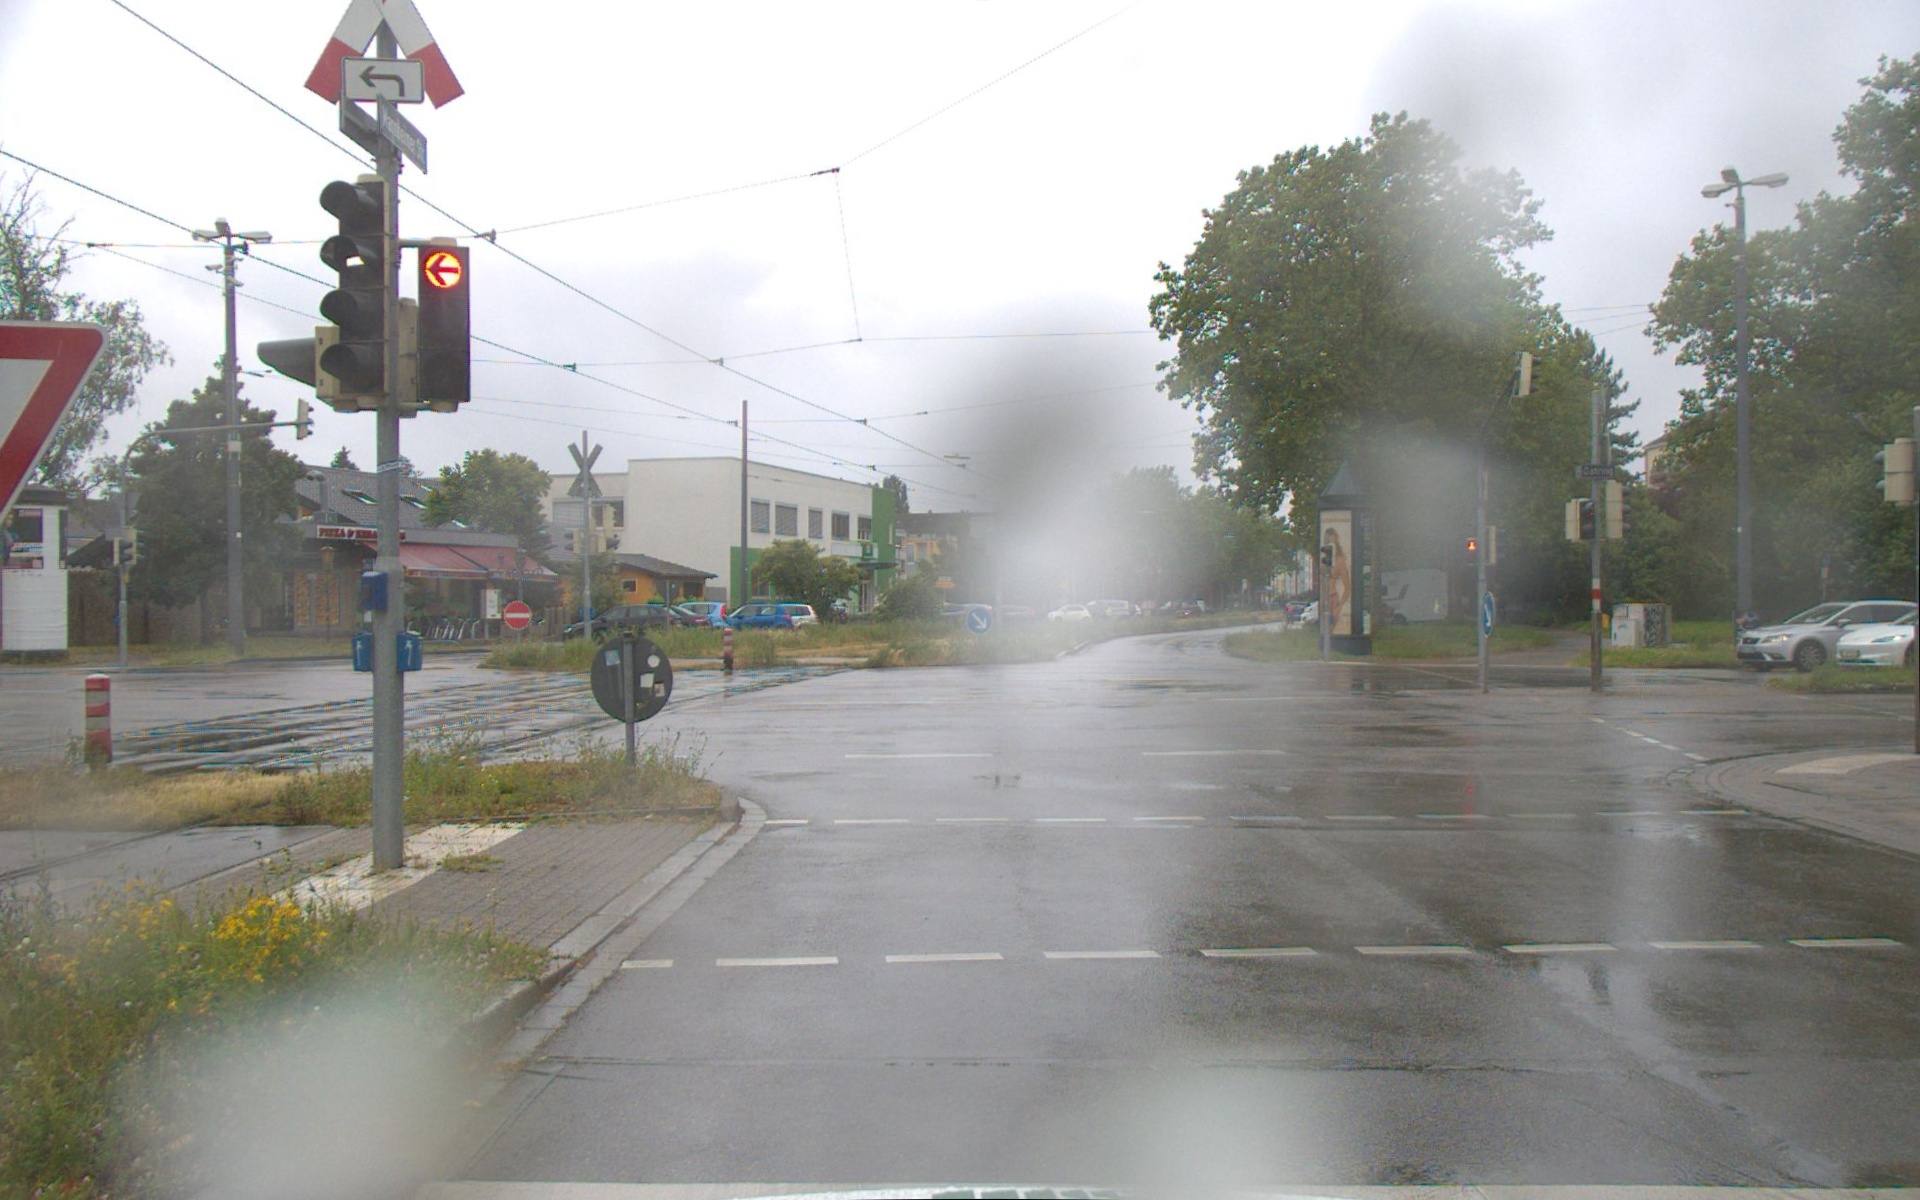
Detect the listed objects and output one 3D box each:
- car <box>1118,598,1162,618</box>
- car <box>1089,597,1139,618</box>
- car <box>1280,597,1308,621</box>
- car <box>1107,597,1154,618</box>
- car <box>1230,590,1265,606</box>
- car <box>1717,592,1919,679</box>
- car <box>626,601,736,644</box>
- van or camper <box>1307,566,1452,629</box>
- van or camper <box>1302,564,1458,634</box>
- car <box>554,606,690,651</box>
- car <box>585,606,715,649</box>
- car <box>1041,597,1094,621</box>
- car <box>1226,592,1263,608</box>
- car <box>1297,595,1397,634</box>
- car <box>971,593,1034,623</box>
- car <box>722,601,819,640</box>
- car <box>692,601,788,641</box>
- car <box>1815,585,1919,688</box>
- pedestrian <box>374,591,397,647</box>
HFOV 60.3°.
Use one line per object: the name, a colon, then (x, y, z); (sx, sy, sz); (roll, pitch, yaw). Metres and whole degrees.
car: (17.339, 0.744, 159.161); (3.909, 1.864, 1.998); (1, 0, -5)
car: (13.510, 0.655, 145.070); (3.917, 1.789, 2.004); (1, 0, -12)
car: (25.059, 0.693, 124.136); (1.768, 1.716, 3.914); (1, 0, 15)
car: (15.867, 0.696, 154.069); (3.917, 1.864, 1.994); (1, 0, -12)
car: (35.474, -0.220, 203.955); (3.909, 1.864, 1.998); (1, 0, -5)
car: (18.432, 0.731, 34.646); (4.309, 1.721, 1.931); (1, 0, -7)
car: (-10.887, 0.875, 64.592); (3.903, 1.609, 1.859); (0, 0, 4)
van or camper: (22.821, -0.147, 90.031); (7.274, 3.234, 3.262); (1, 0, 22)
van or camper: (20.550, -0.040, 80.818); (7.168, 3.234, 3.264); (1, 0, 17)
car: (-11.980, 0.994, 58.778); (4.385, 1.443, 1.858); (-2, 0, 0)
car: (-11.425, 0.997, 61.194); (4.405, 1.443, 1.858); (-2, 0, 0)
car: (8.256, 0.691, 126.873); (3.706, 1.732, 1.832); (1, 0, -11)
car: (34.267, -0.023, 199.202); (3.909, 1.864, 1.998); (1, 0, -5)
car: (18.227, 0.662, 77.836); (4.352, 1.747, 2.000); (1, 0, 21)
car: (2.826, 0.503, 110.193); (3.911, 1.920, 1.997); (1, 0, -7)
car: (-8.362, 0.877, 72.759); (4.040, 1.670, 1.922); (0, 0, -15)
car: (-9.261, 0.877, 69.570); (3.916, 1.609, 1.924); (0, 0, -12)
car: (18.878, 0.704, 31.296); (4.506, 1.860, 1.931); (1, 0, -7)
pedestrian: (-20.892, 0.690, 60.180); (0.713, 2.049, 0.789); (1, -1, -23)
